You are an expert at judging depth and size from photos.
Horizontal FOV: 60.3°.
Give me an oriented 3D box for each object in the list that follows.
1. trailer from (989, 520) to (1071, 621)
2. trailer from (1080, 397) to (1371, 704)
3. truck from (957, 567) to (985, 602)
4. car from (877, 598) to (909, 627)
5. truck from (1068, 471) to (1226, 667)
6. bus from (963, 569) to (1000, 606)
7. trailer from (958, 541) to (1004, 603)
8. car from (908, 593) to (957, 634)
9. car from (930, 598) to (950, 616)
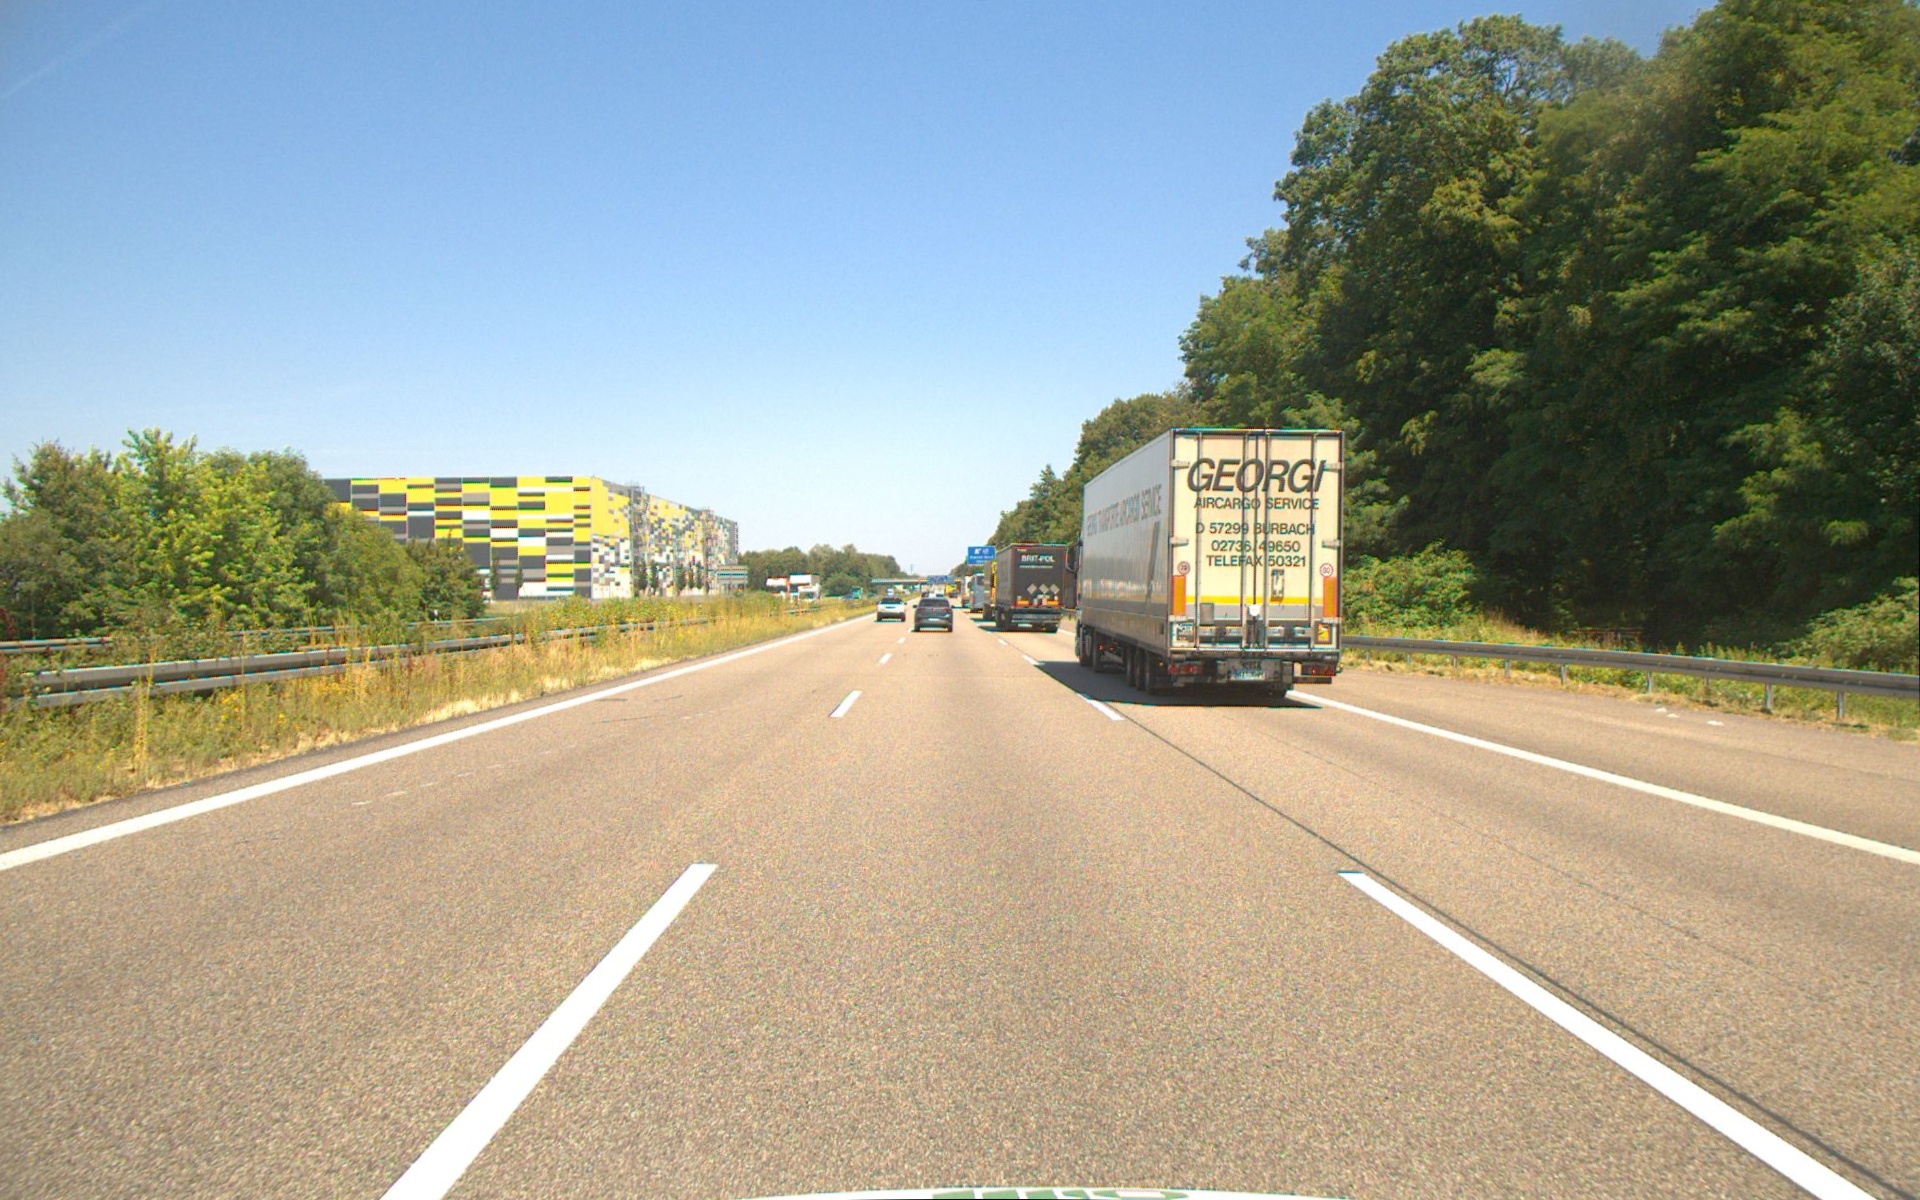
[{"bbox_3d":[3.318,-1.335,82.985,3.043,4.585,14.891,1,0,-2],"label":"trailer"},{"bbox_3d":[4.303,-0.725,30.467,2.933,4.364,13.415,1,0,-1],"label":"trailer"},{"bbox_3d":[1.345,-1.921,204.670,3.353,4.198,9.564,-1,0,0],"label":"truck"},{"bbox_3d":[-4.168,0.779,103.726,1.953,1.758,4.129,0,0,-2],"label":"car"},{"bbox_3d":[4.194,-0.665,38.227,2.942,4.197,5.251,0,0,-1],"label":"truck"},{"bbox_3d":[2.024,-1.217,158.307,3.001,3.385,8.270,-1,0,-2],"label":"bus"},{"bbox_3d":[1.345,-1.867,113.044,2.777,4.023,11.681,0,0,-1],"label":"trailer"},{"bbox_3d":[-1.258,0.579,76.255,2.171,1.821,5.392,0,0,-1],"label":"car"},{"bbox_3d":[-1.946,0.645,161.011,1.902,1.736,3.999,0,0,-1],"label":"car"}]
